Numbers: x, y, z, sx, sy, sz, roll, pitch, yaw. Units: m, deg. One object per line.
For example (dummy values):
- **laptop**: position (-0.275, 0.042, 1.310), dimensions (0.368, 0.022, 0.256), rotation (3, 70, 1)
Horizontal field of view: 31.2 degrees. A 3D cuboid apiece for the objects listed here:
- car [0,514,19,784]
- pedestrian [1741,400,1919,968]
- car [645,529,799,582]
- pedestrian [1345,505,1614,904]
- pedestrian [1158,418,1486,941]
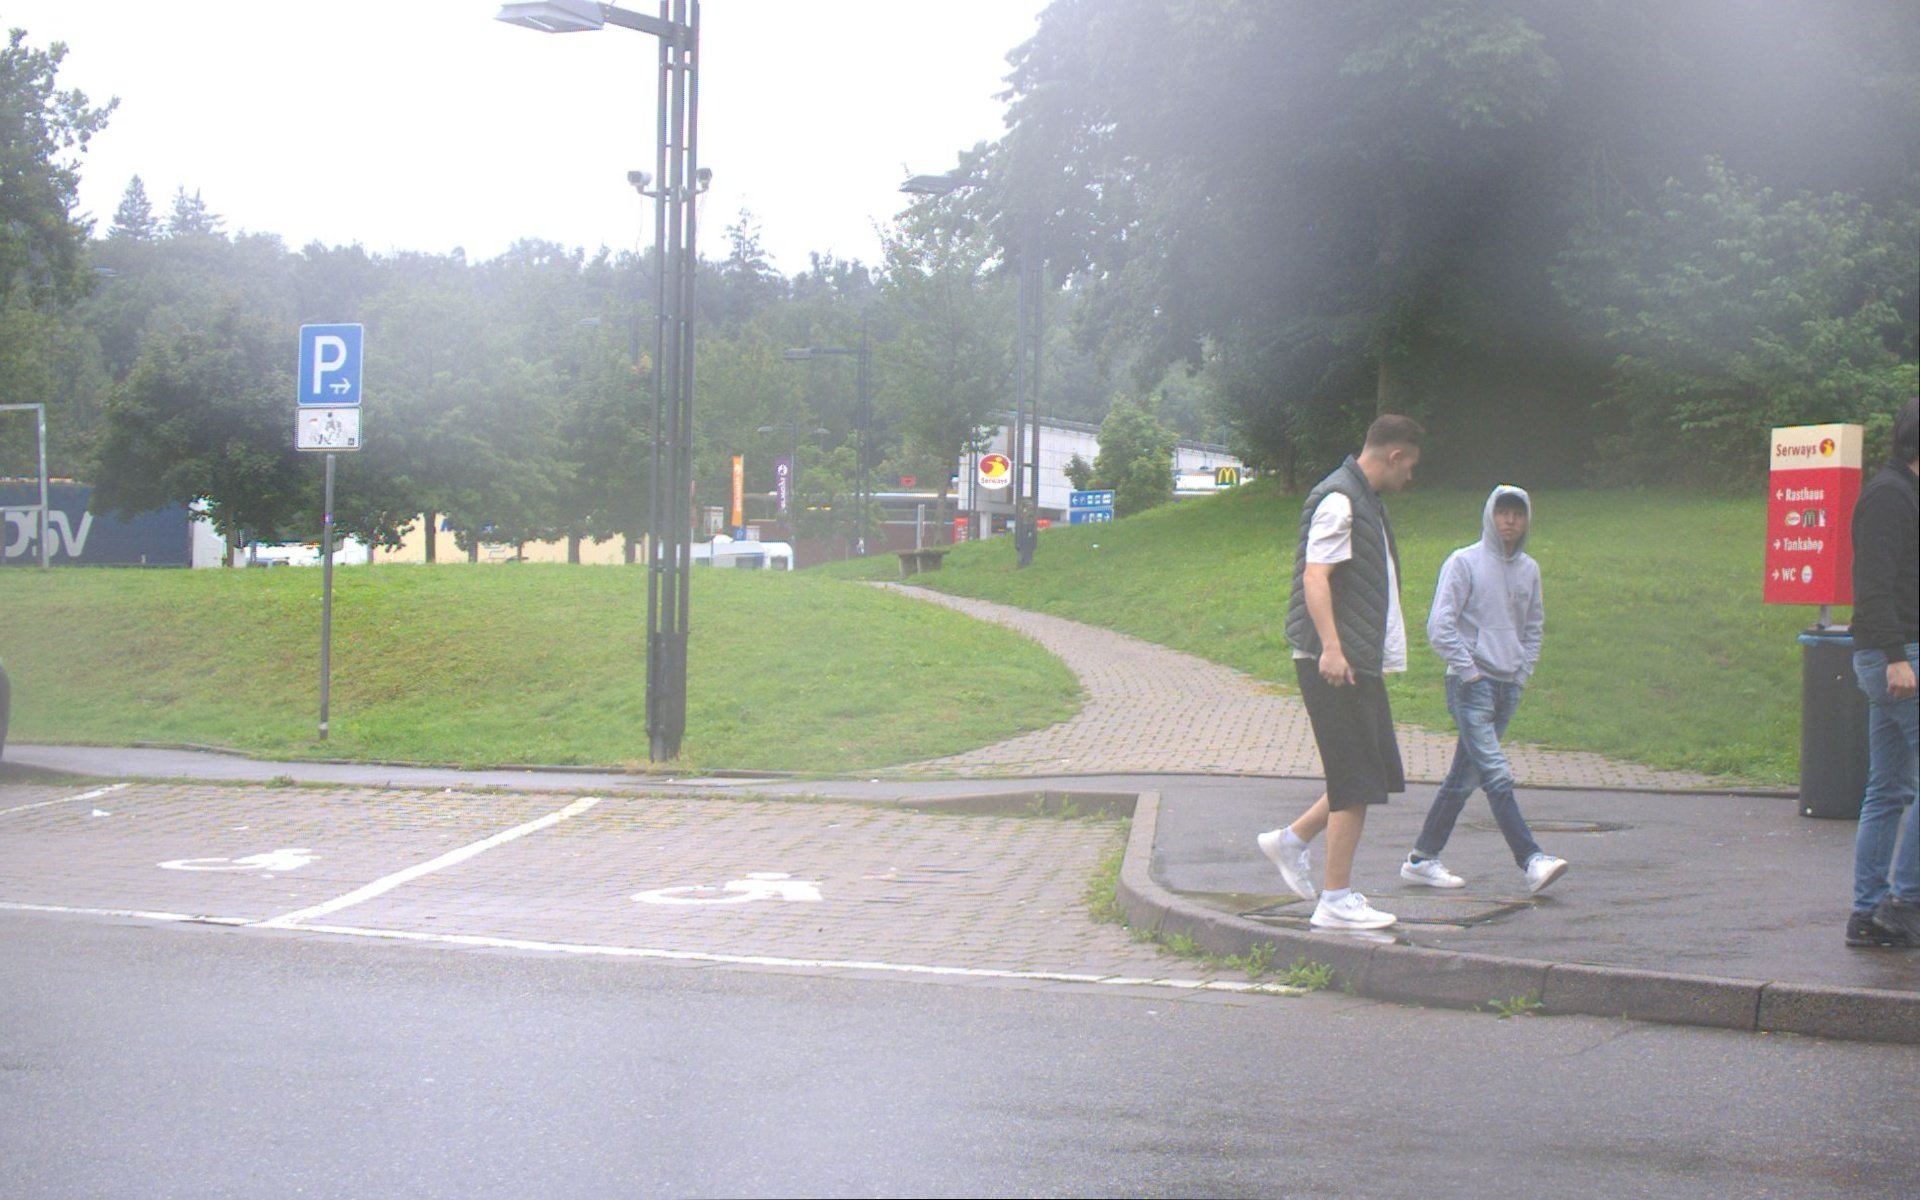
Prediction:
- **car**: position (-7.770, 0.371, 21.453), dimensions (1.885, 1.821, 4.411), rotation (0, 1, 11)
- **pedestrian**: position (3.246, 0.267, 11.620), dimensions (1.000, 1.858, 0.798), rotation (0, 1, 28)
- **car**: position (-9.258, -1.744, 133.780), dimensions (5.429, 2.007, 2.453), rotation (1, 1, 20)
- **pedestrian**: position (2.089, 0.397, 13.806), dimensions (0.890, 1.544, 0.659), rotation (0, 1, 29)
- **pedestrian**: position (1.340, 0.272, 12.681), dimensions (0.974, 1.842, 0.772), rotation (0, 1, 28)
